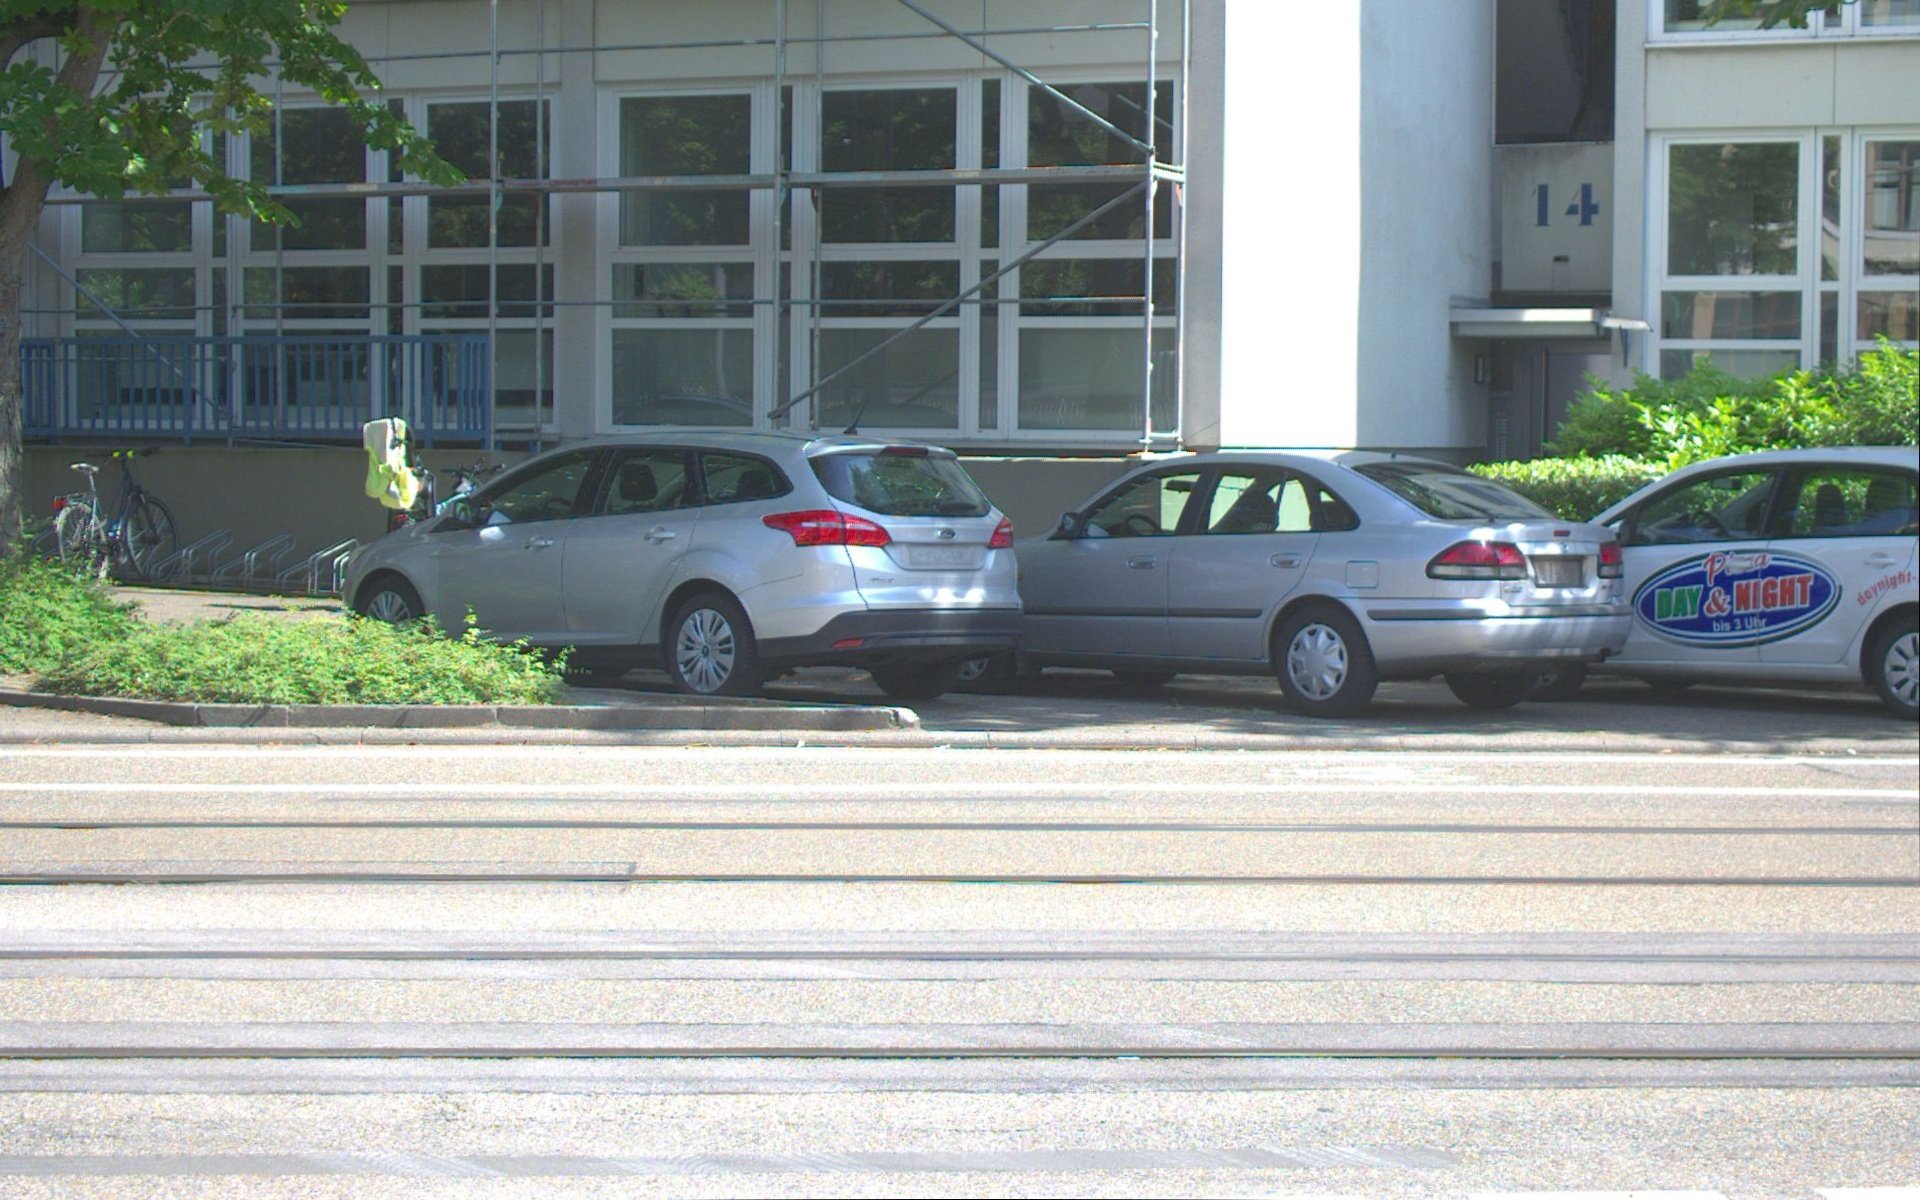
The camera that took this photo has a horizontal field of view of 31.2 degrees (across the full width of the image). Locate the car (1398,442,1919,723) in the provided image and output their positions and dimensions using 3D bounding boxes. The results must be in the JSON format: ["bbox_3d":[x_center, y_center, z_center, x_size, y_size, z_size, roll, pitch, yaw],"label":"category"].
[{"bbox_3d":[4.593,-0.151,19.661,3.942,1.481,1.609,2,3,43],"label":"car"}]

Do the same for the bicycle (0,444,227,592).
[{"bbox_3d":[-6.544,-0.658,26.680,0.741,1.082,2.202,1,3,15],"label":"bicycle"}]

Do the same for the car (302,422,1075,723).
[{"bbox_3d":[-1.630,-0.240,19.423,4.432,1.481,1.780,3,4,42],"label":"car"}]

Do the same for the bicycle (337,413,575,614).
[{"bbox_3d":[-3.770,-0.673,25.881,0.662,1.448,2.087,2,3,28],"label":"bicycle"}]

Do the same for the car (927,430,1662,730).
[{"bbox_3d":[1.790,-0.189,19.303,3.943,1.481,1.609,3,4,44],"label":"car"}]
